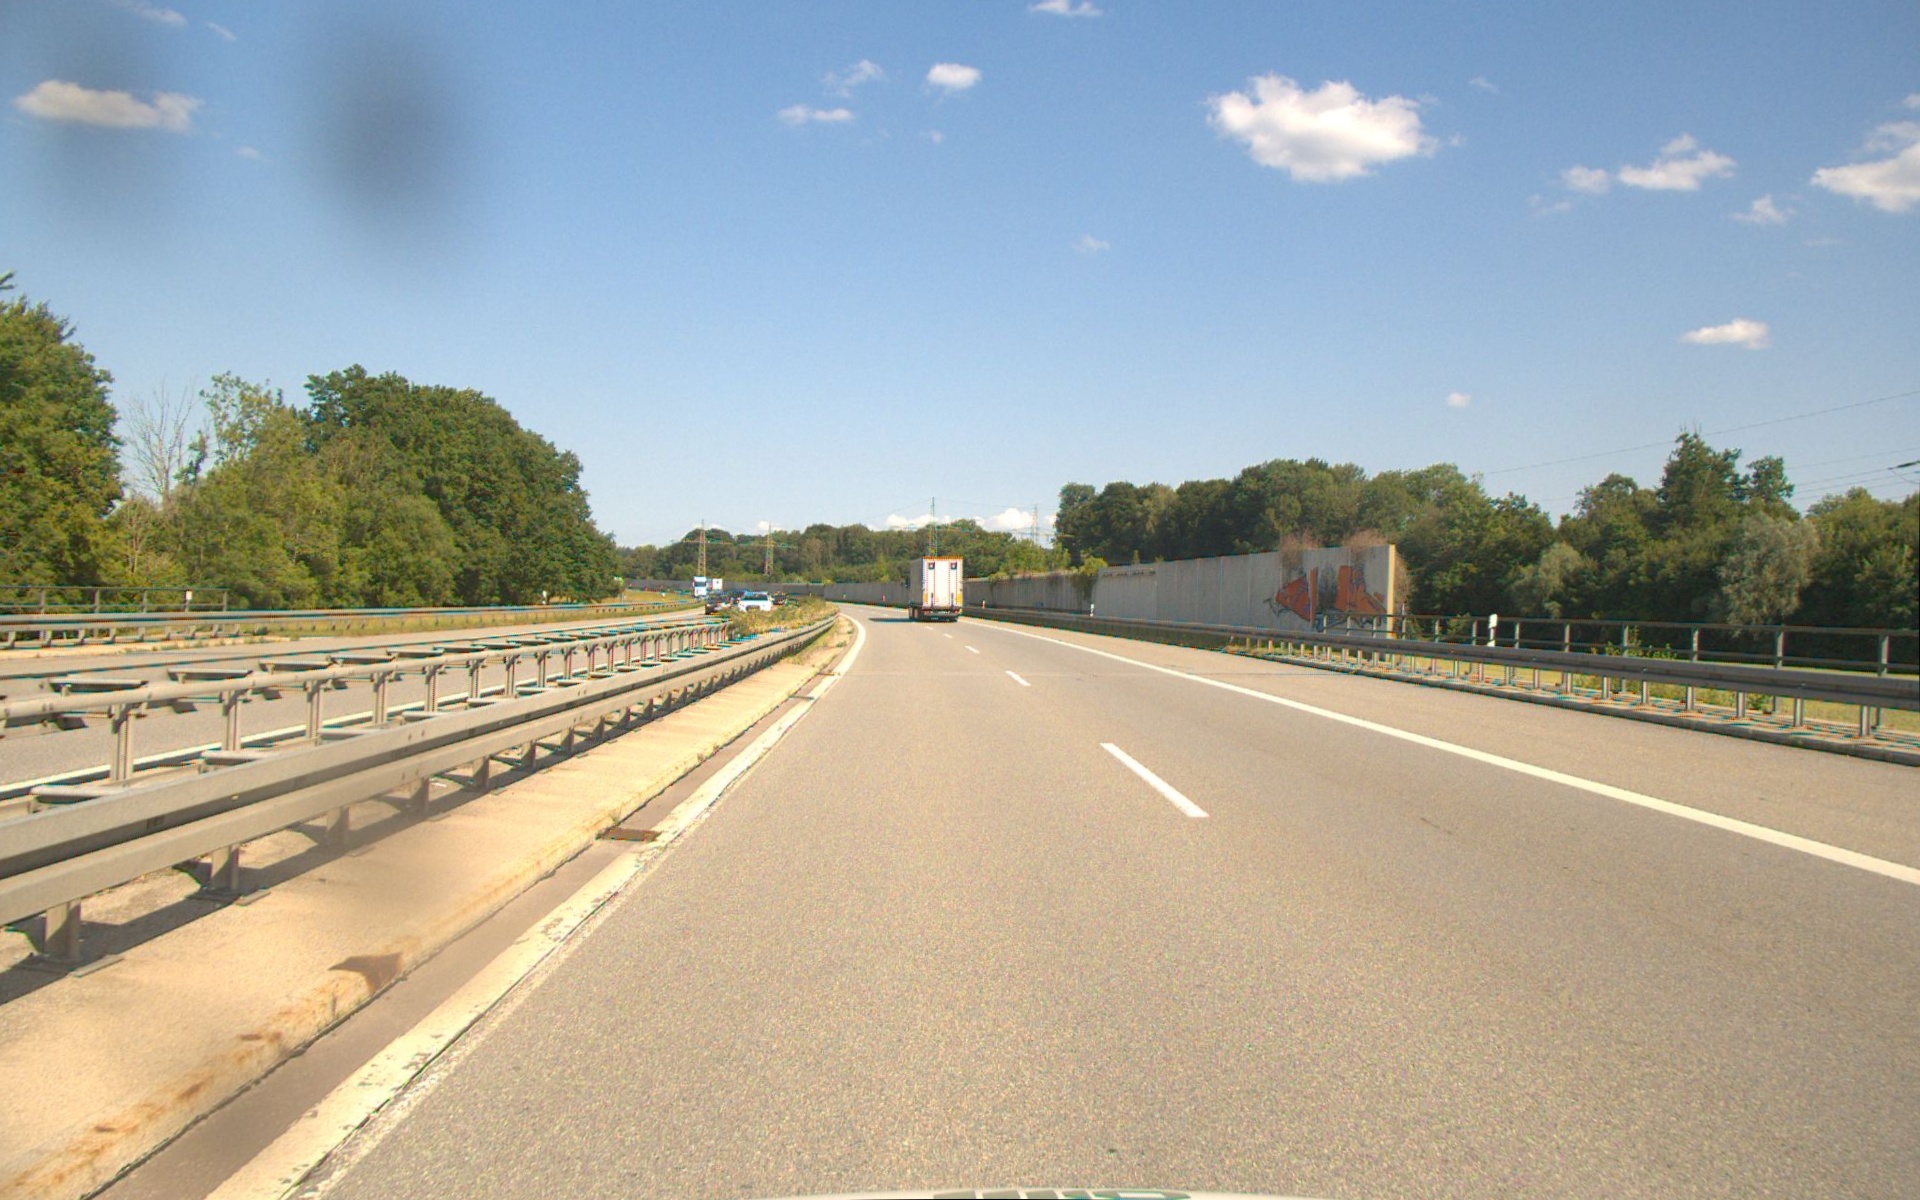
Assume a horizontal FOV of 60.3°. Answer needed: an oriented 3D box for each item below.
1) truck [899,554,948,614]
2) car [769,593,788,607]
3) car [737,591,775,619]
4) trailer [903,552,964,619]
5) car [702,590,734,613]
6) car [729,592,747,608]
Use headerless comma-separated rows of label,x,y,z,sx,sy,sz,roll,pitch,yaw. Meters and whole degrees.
truck,-2.610,-1.068,115.558,2.776,4.082,6.577,0,0,-7
car,-19.183,0.014,174.520,1.817,1.508,3.997,0,0,-4
car,-11.100,0.234,90.349,1.785,1.459,4.646,1,0,-4
trailer,-1.838,-0.899,109.127,2.829,4.137,12.402,0,0,-7
car,-16.016,0.094,109.543,1.738,1.495,4.503,1,0,-4
car,-23.698,-0.009,176.841,1.818,1.663,4.487,0,0,-7
